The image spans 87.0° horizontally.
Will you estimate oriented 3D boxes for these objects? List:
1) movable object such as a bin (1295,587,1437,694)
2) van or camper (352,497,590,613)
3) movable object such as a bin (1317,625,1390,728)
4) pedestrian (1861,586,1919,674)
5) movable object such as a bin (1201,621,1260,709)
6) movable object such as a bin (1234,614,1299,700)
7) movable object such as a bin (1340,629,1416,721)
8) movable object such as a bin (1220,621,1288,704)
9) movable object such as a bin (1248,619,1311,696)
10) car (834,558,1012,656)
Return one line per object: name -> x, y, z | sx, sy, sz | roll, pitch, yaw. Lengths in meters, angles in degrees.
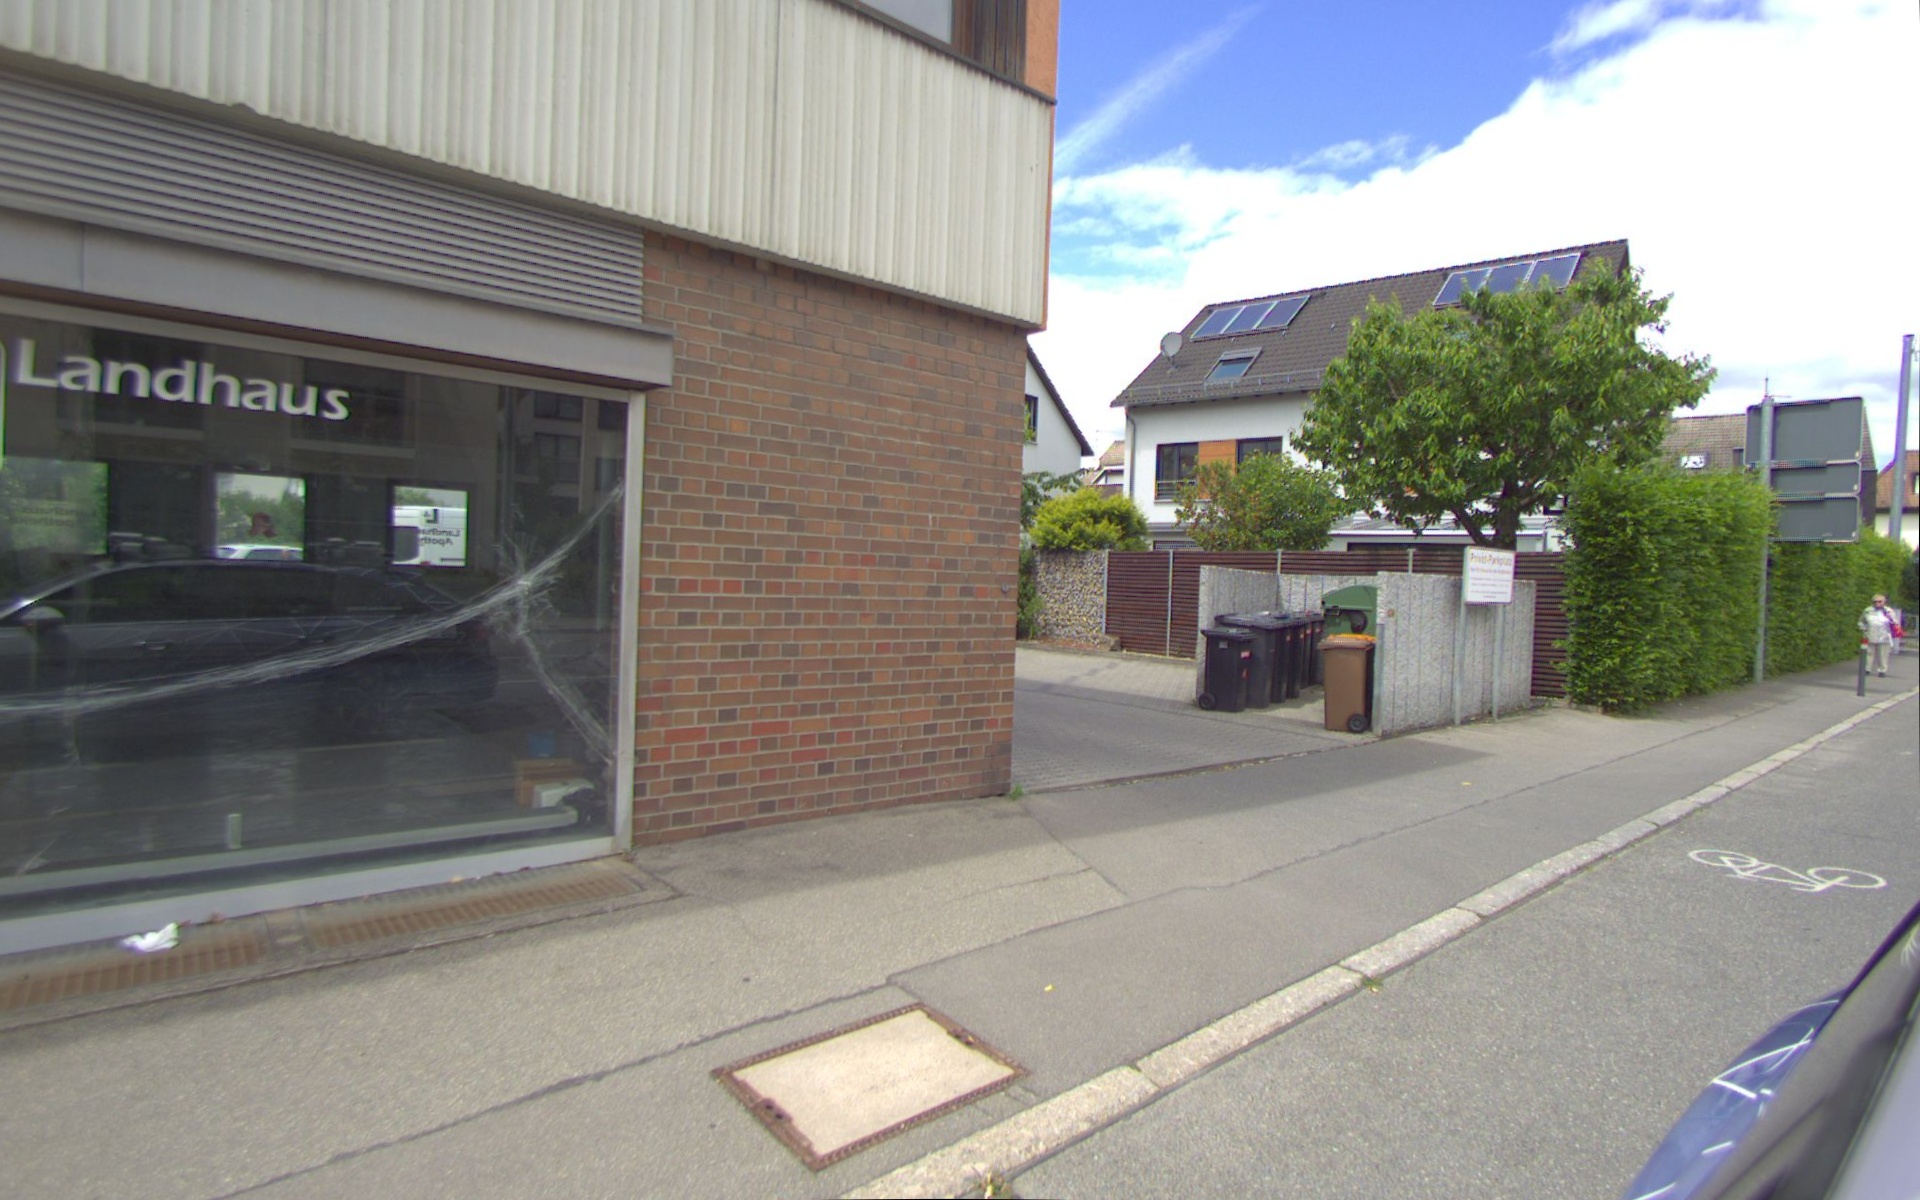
movable object such as a bin -> 5.299, 0.483, 13.192 | 1.509, 1.278, 1.190 | 0, 1, -43
van or camper -> -12.058, -1.081, 25.469 | 2.034, 2.574, 5.474 | 2, 2, 21
movable object such as a bin -> 3.998, 0.758, 10.277 | 0.530, 0.963, 0.678 | 1, 1, 36
pedestrian -> 18.167, 0.564, 19.683 | 0.641, 1.637, 0.801 | 1, 3, -39
movable object such as a bin -> 3.051, 0.718, 11.398 | 0.490, 0.924, 0.534 | 1, 1, 33
movable object such as a bin -> 3.722, 0.673, 12.274 | 0.624, 0.979, 0.534 | 1, 1, 33
movable object such as a bin -> 4.486, 0.783, 10.855 | 0.532, 0.903, 0.668 | 2, 1, 43
movable object such as a bin -> 3.429, 0.715, 11.811 | 0.630, 0.903, 0.534 | 1, 1, 33
movable object such as a bin -> 4.023, 0.706, 12.728 | 0.630, 0.903, 0.534 | 1, 1, 33
car -> -0.558, 0.071, 18.346 | 1.768, 1.555, 3.767 | 2, 2, 23
